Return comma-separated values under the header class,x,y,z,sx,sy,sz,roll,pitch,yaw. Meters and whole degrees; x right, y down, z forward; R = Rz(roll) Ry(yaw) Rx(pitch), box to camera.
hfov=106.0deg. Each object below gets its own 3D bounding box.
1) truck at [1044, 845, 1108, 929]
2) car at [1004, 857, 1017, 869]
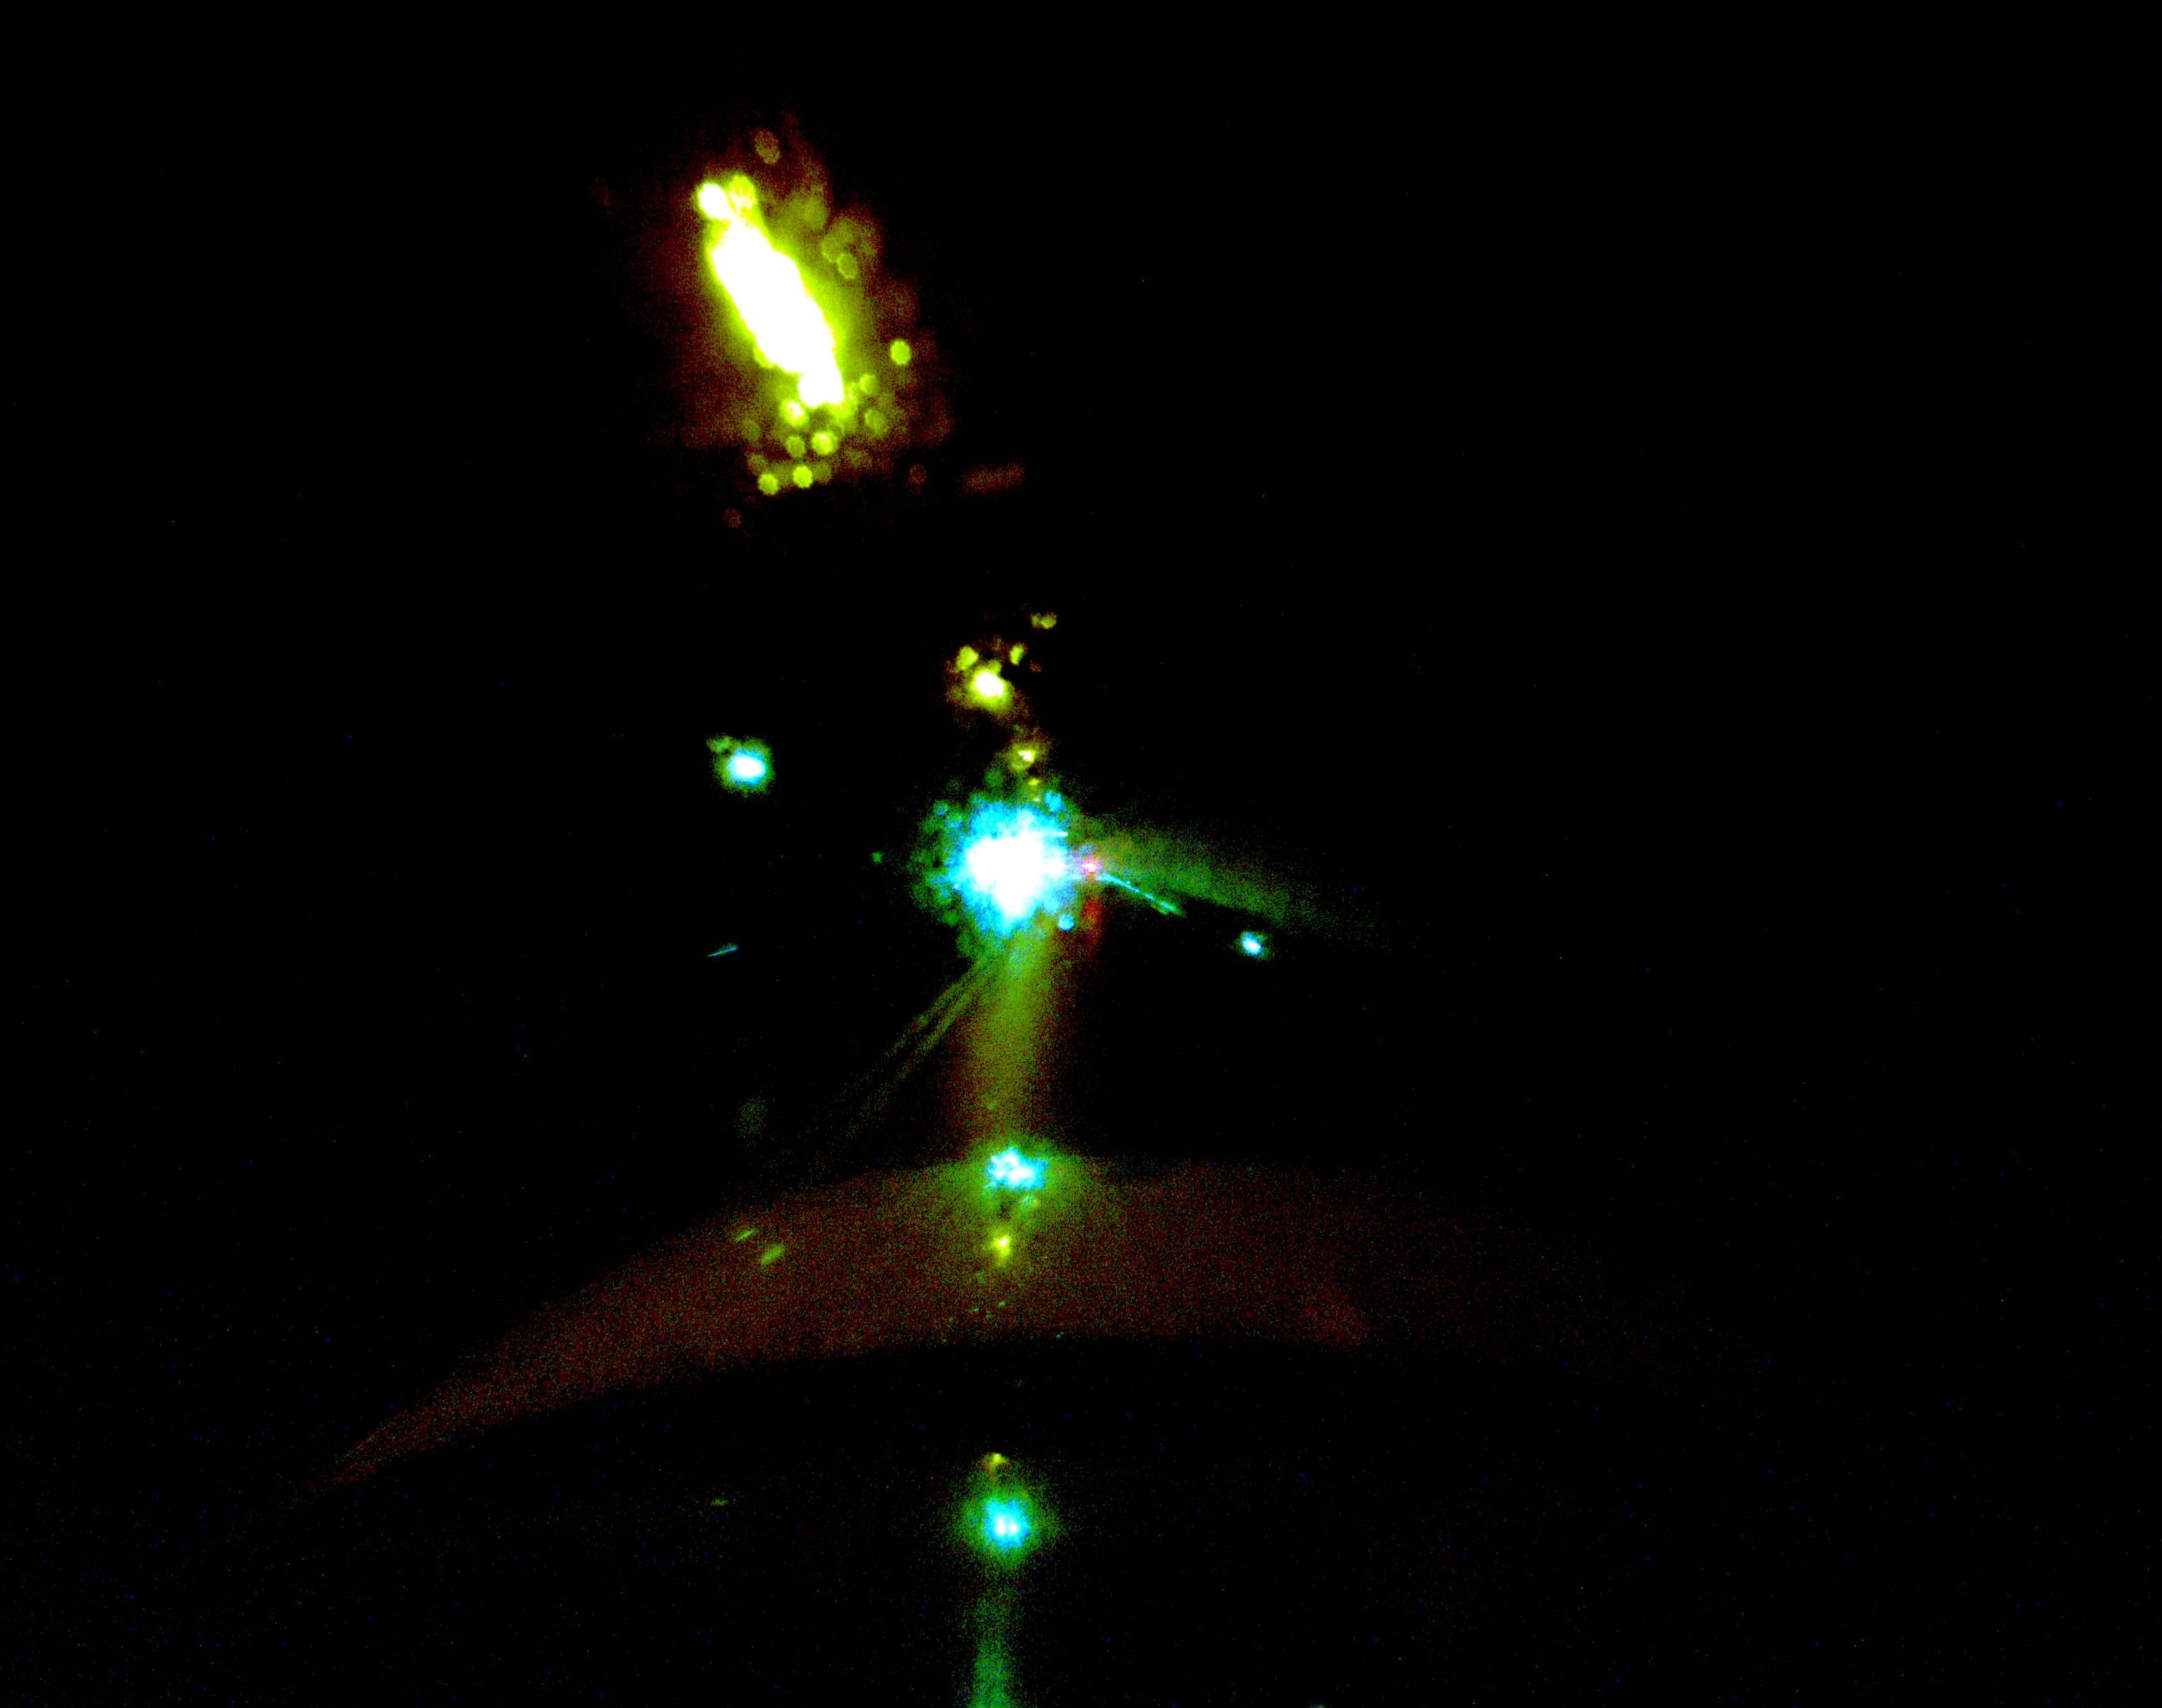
class,x,y,z,sx,sy,sz,roll,pitch,yaw
truck,-0.195,1.257,33.951,2.255,3.011,7.413,2,0,0
car,-9.210,1.132,105.865,1.618,1.517,4.130,0,0,-5
